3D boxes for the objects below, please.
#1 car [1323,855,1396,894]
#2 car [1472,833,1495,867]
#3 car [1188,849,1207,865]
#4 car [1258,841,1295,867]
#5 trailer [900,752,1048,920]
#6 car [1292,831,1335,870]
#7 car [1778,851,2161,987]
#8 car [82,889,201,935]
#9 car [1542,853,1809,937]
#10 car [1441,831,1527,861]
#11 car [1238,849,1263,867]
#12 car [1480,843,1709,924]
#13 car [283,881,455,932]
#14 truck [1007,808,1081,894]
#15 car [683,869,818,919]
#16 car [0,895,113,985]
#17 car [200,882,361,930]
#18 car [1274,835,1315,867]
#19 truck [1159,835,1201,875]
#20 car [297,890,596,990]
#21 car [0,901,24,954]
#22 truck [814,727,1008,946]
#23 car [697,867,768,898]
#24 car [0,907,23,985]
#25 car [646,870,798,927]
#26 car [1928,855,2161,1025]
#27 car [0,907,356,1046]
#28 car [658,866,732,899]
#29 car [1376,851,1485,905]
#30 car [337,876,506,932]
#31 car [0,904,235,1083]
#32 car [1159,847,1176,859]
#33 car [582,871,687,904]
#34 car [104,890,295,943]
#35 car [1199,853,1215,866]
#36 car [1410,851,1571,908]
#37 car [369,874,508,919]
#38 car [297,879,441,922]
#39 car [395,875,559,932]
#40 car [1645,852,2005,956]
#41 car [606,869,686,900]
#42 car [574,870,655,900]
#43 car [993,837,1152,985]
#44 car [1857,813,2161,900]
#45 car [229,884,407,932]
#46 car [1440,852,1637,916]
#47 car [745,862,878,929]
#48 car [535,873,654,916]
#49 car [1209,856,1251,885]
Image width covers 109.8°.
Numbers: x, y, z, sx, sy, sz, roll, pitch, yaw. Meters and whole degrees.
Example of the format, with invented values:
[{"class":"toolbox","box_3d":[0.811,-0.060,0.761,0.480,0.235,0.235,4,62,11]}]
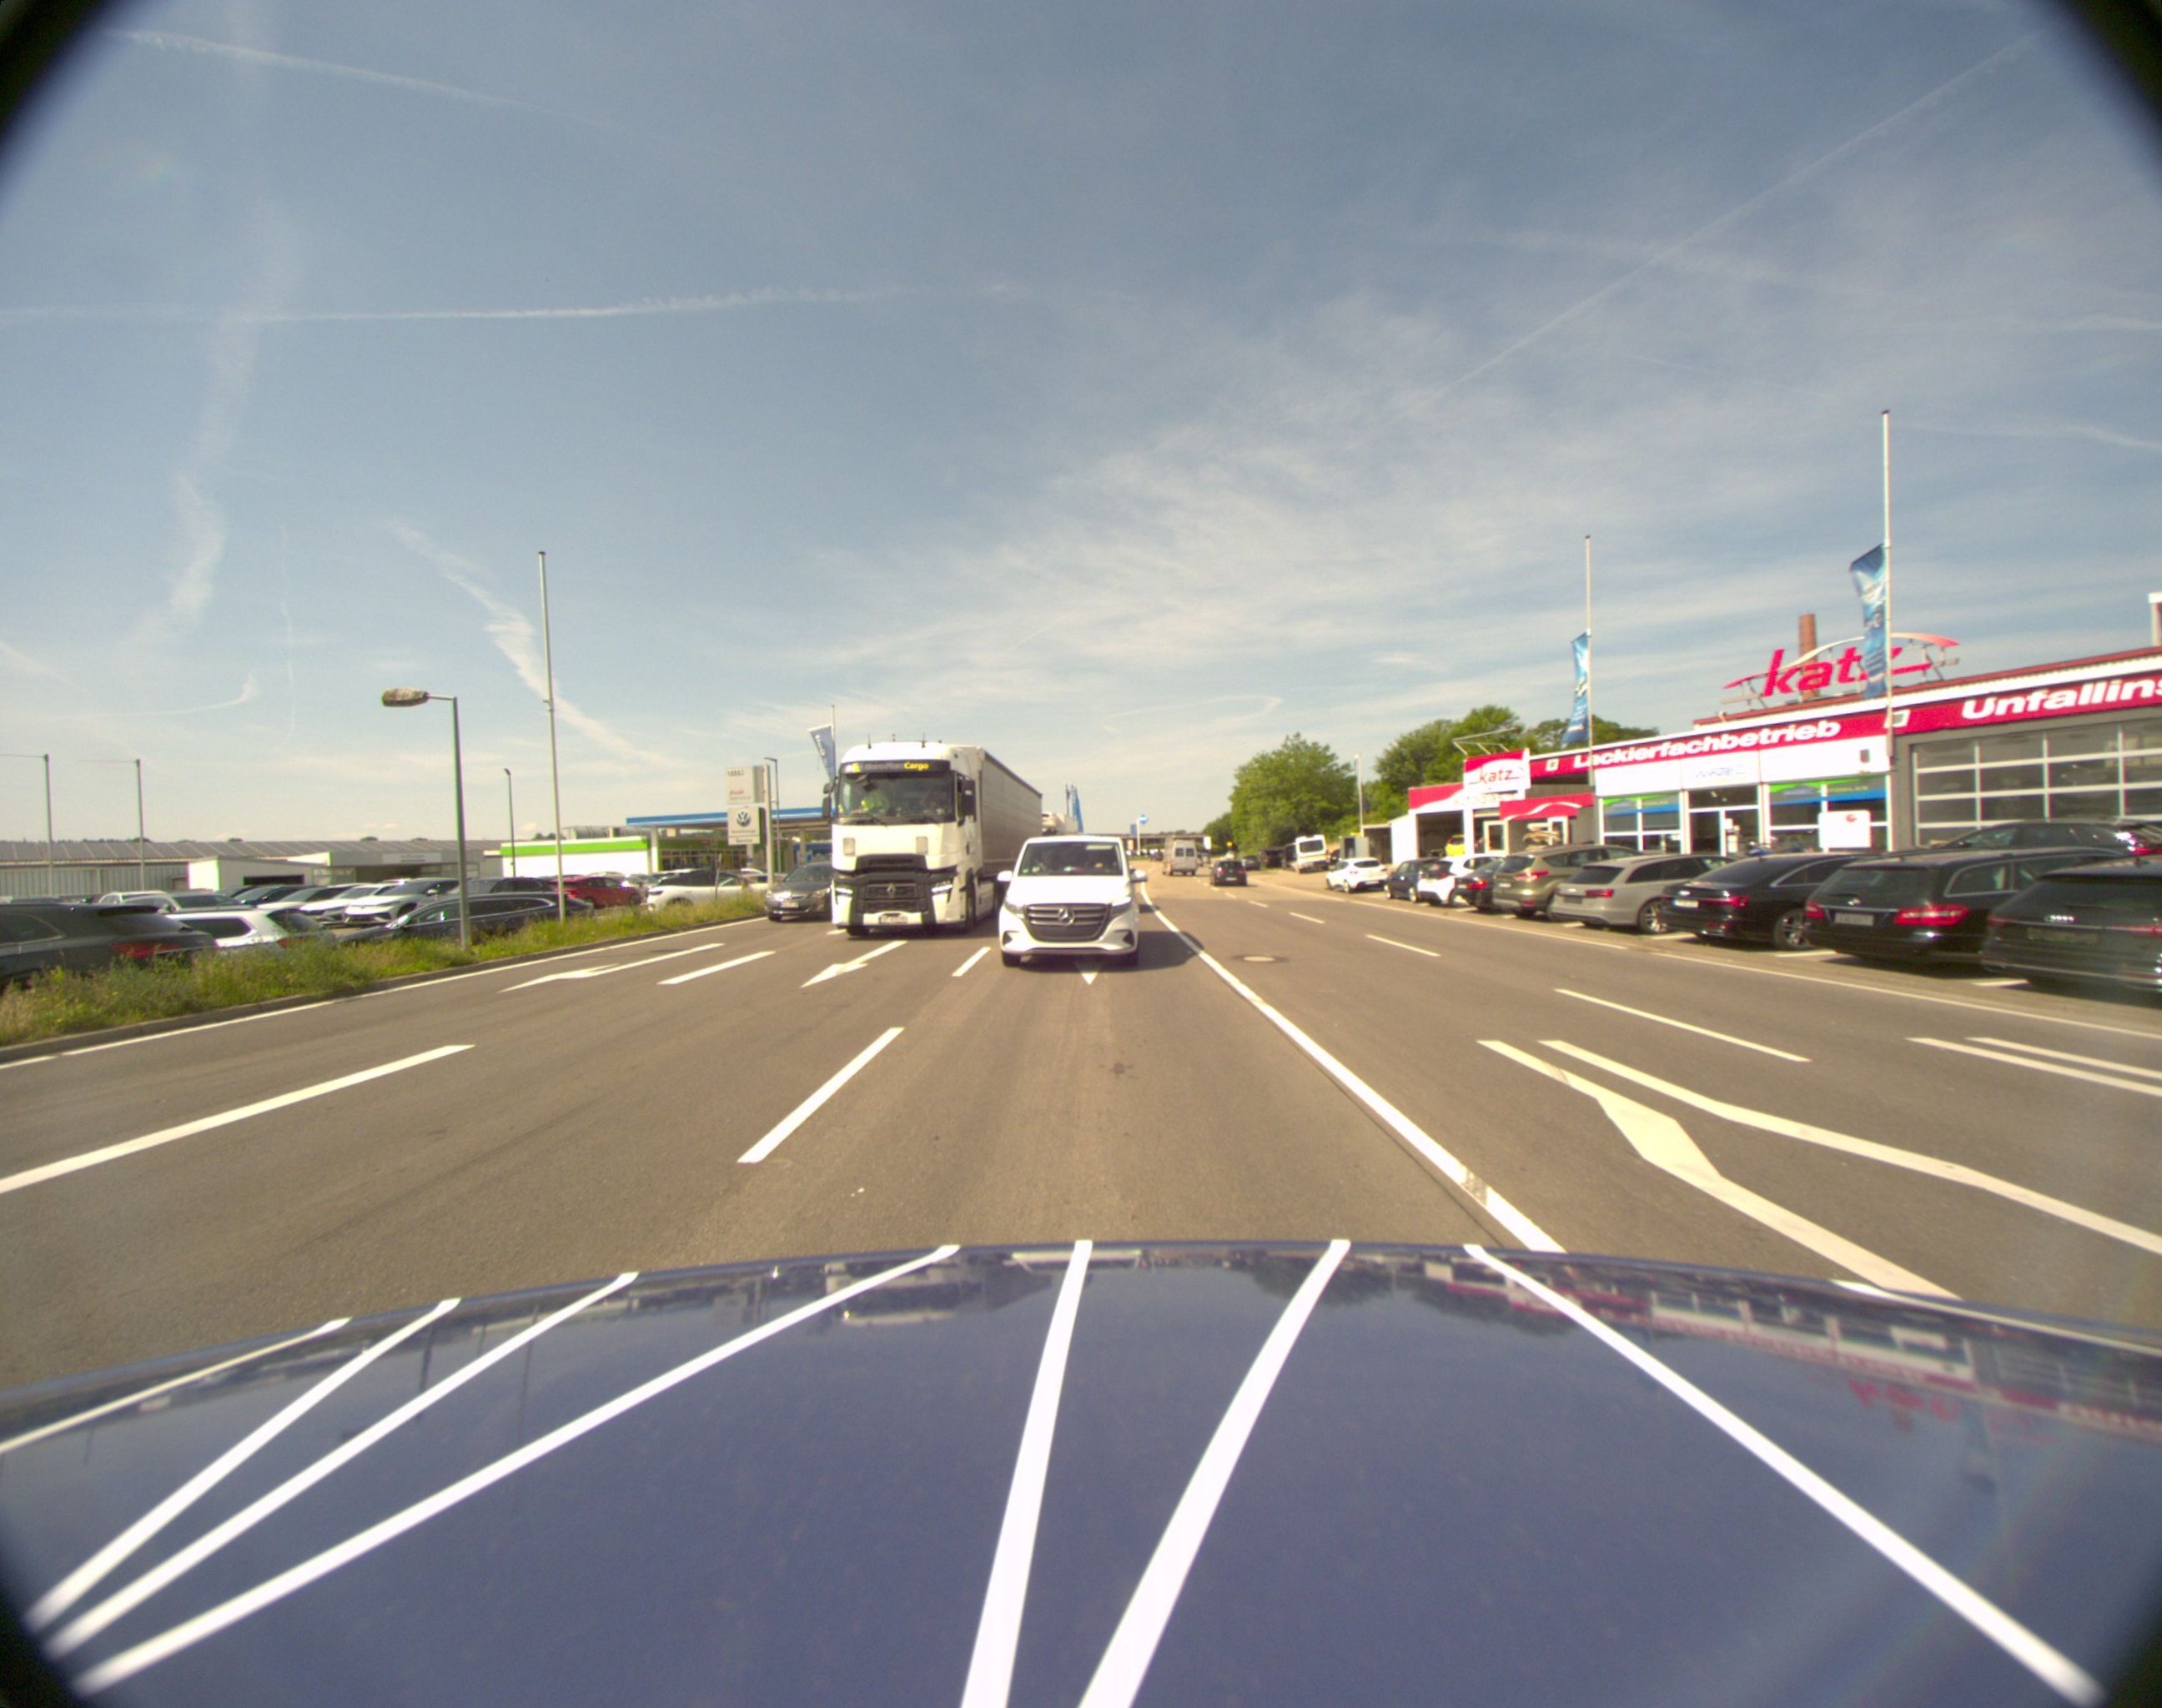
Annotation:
[{"class":"car","box_3d":[11.911,0.837,32.751,1.765,1.406,4.001,-5,0,3]},{"class":"car","box_3d":[22.059,-0.233,41.634,0.881,1.825,0.846,-2,1,14]},{"class":"car","box_3d":[13.559,0.325,88.452,2.053,1.812,4.511,0,0,7]},{"class":"car","box_3d":[18.220,-0.041,71.135,2.438,2.250,5.341,-2,0,5]},{"class":"trailer","box_3d":[-2.977,-0.478,24.993,2.613,4.203,11.294,-1,0,3]},{"class":"car","box_3d":[16.559,-0.255,53.880,2.435,2.529,6.050,-2,0,20]},{"class":"car","box_3d":[11.772,0.754,9.708,3.877,1.490,1.949,-1,0,3]},{"class":"car","box_3d":[-40.012,2.428,32.363,4.527,1.718,2.072,-1,0,24]},{"class":"car","box_3d":[11.638,0.761,15.049,3.974,1.484,1.739,-1,0,-2]},{"class":"car","box_3d":[24.284,-0.486,45.815,4.539,1.644,1.873,-2,0,-17]},{"class":"car","box_3d":[15.058,0.341,67.629,1.827,1.517,4.461,0,0,8]},{"class":"car","box_3d":[11.766,0.649,17.627,3.996,1.717,1.871,-1,0,2]},{"class":"car","box_3d":[-25.879,1.843,27.879,1.689,1.517,4.540,-1,0,6]},{"class":"truck","box_3d":[-1.713,-0.157,39.982,2.646,3.963,9.241,-1,0,4]},{"class":"car","box_3d":[-12.516,1.468,28.960,4.543,1.645,1.772,-1,1,-24]},{"class":"car","box_3d":[-21.872,1.738,14.111,1.774,1.645,4.539,-1,0,4]},{"class":"car","box_3d":[-30.723,1.946,29.361,1.607,1.523,4.131,-1,0,6]},{"class":"car","box_3d":[18.257,-0.228,65.275,2.438,2.529,5.341,-2,0,5]},{"class":"truck","box_3d":[7.575,0.068,58.542,2.442,2.820,6.041,-1,0,1]},{"class":"car","box_3d":[-12.971,1.687,15.986,4.545,1.571,1.772,-1,0,-30]},{"class":"car","box_3d":[-31.298,2.083,19.528,1.819,1.423,4.491,-1,0,23]},{"class":"truck","box_3d":[-3.411,-0.322,16.968,2.647,3.963,6.042,-1,0,3]},{"class":"car","box_3d":[-19.849,1.608,43.467,1.774,1.571,4.150,-1,0,6]},{"class":"car","box_3d":[-24.142,1.999,14.415,1.774,1.645,4.434,-1,0,4]},{"class":"car","box_3d":[-12.269,1.472,26.146,4.544,1.645,1.772,-1,1,-26]},{"class":"car","box_3d":[11.649,0.751,7.663,3.997,1.443,1.946,-1,0,1]},{"class":"car","box_3d":[-12.903,1.597,10.332,4.005,1.450,1.772,-1,0,-25]},{"class":"car","box_3d":[-22.196,1.595,43.875,1.712,1.702,4.261,-1,0,6]},{"class":"car","box_3d":[11.810,0.758,26.019,1.998,1.546,4.001,-5,0,4]},{"class":"car","box_3d":[-23.449,1.726,27.297,1.774,1.645,4.540,-1,0,6]},{"class":"car","box_3d":[-12.033,1.488,7.856,4.006,1.645,1.772,-2,1,-32]},{"class":"car","box_3d":[13.010,-0.195,113.965,2.052,1.812,4.512,0,0,12]},{"class":"car","box_3d":[-23.243,1.726,39.640,4.532,1.571,1.777,-1,0,8]},{"class":"car","box_3d":[-27.665,1.950,23.895,4.530,1.450,1.951,-1,0,12]},{"class":"car","box_3d":[17.180,0.762,103.888,1.975,1.812,4.205,0,0,7]},{"class":"car","box_3d":[12.212,0.734,22.833,3.798,1.542,1.941,-1,0,-1]},{"class":"car","box_3d":[-28.109,1.811,33.454,1.773,1.645,4.541,-1,0,10]},{"class":"car","box_3d":[-32.718,2.092,35.124,1.772,1.645,4.543,-1,0,17]},{"class":"car","box_3d":[-20.940,1.670,26.642,1.774,1.645,4.540,-1,0,6]},{"class":"car","box_3d":[11.797,0.760,12.283,3.996,1.474,1.756,-1,0,3]},{"class":"car","box_3d":[-24.958,1.725,43.774,1.774,1.571,4.240,-1,0,6]},{"class":"car","box_3d":[-27.241,1.774,44.588,1.720,1.571,4.325,-1,0,6]},{"class":"car","box_3d":[-0.070,0.724,12.646,1.993,1.858,5.803,-1,0,1]},{"class":"car","box_3d":[20.542,0.036,16.691,1.877,1.644,4.530,-2,0,-16]},{"class":"car","box_3d":[-28.182,1.937,28.312,1.774,1.433,4.540,-1,0,6]},{"class":"car","box_3d":[11.981,0.749,20.099,3.997,1.516,2.000,-1,0,-1]},{"class":"car","box_3d":[-7.007,1.011,20.315,1.999,1.511,4.449,-1,0,-1]},{"class":"car","box_3d":[-20.546,1.665,32.348,1.774,1.571,4.540,-1,0,6]},{"class":"car","box_3d":[8.012,0.863,41.158,1.858,1.452,4.001,-1,0,6]}]
